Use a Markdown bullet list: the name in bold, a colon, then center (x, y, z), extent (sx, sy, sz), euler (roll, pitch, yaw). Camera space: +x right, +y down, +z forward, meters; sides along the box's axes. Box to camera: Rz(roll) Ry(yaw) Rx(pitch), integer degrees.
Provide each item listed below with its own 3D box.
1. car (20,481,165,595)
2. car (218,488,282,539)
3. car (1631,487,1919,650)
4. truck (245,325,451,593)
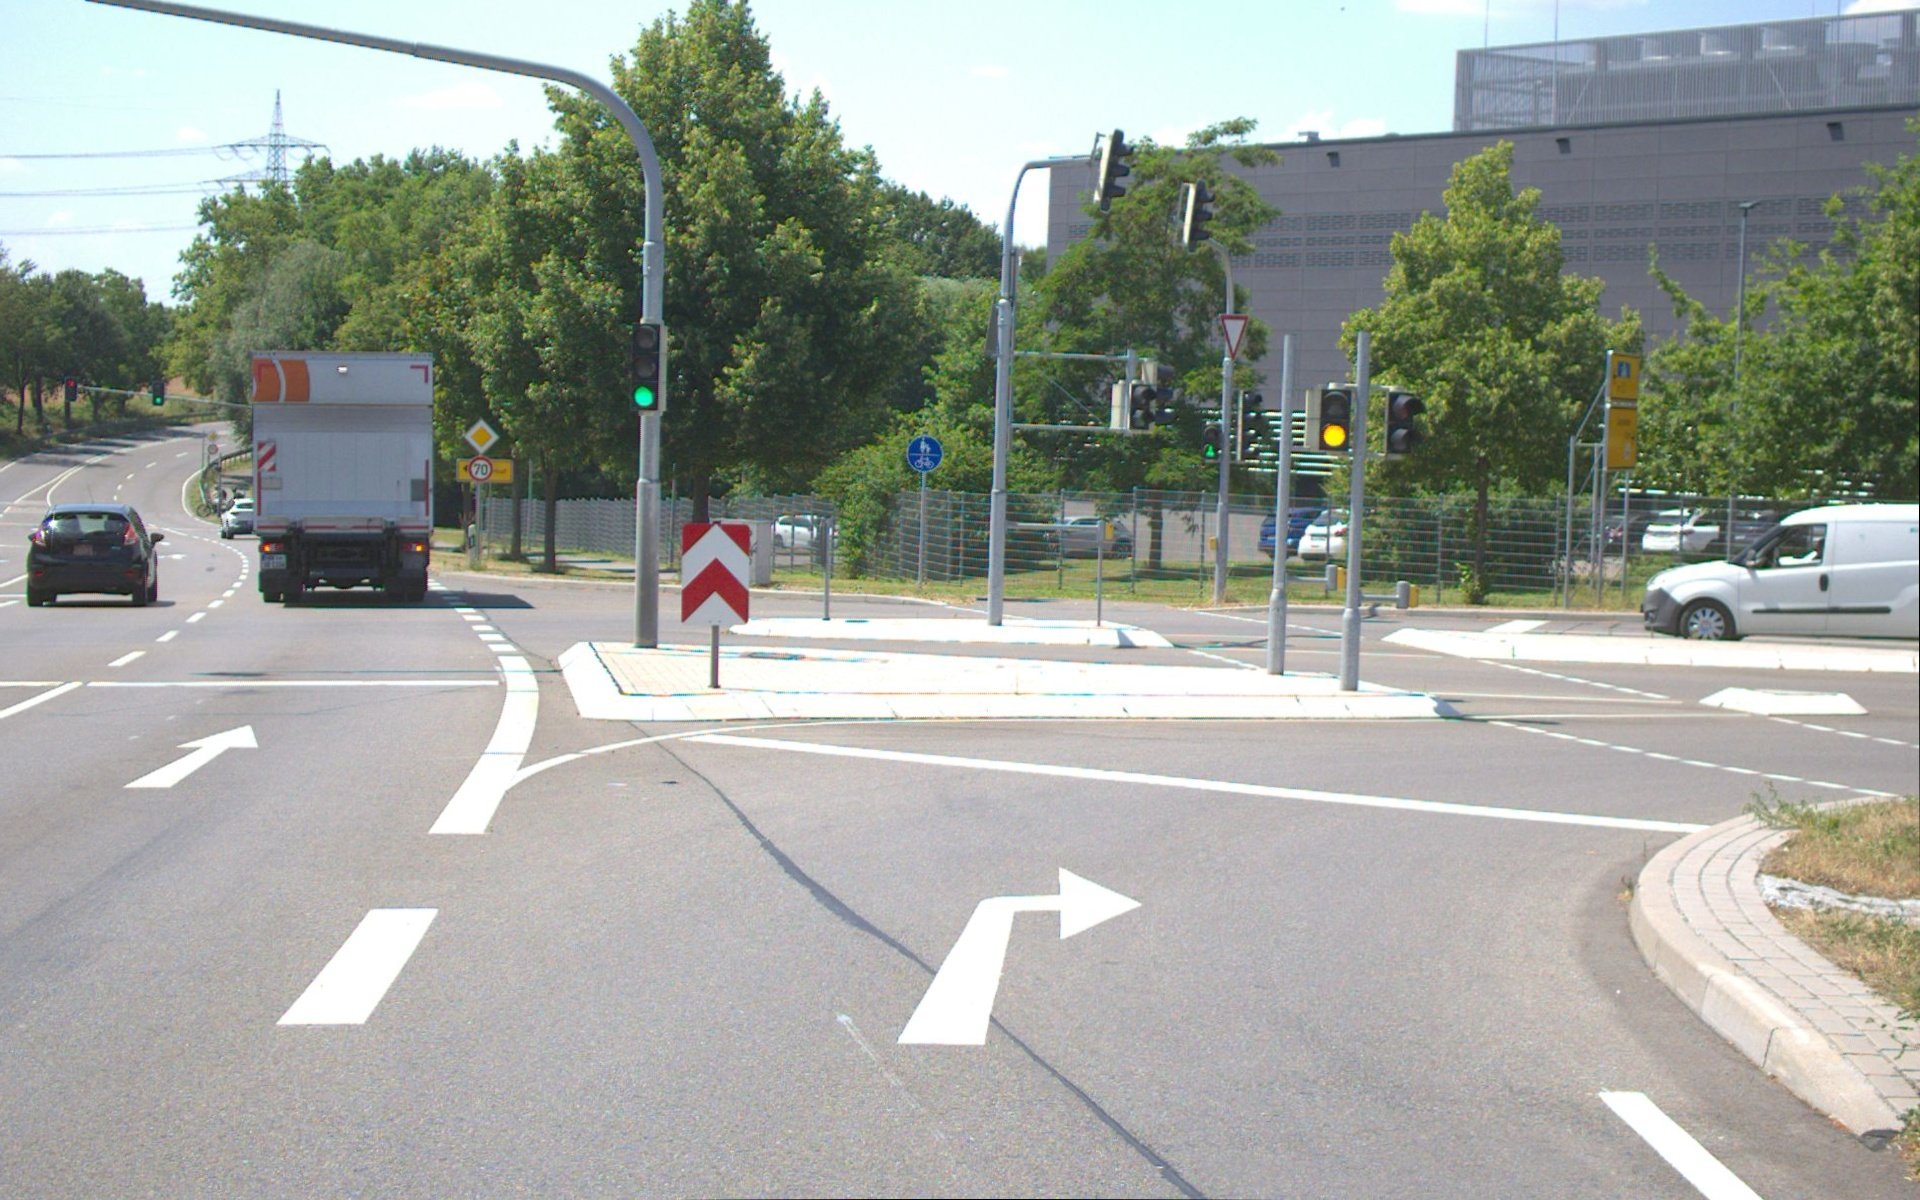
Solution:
- **car**: center (-12.700, -0.940, 50.506), extent (1.652, 1.488, 4.209), euler (1, 3, -9)
- **car**: center (-26.429, -3.241, 127.904), extent (1.943, 1.658, 4.002), euler (3, 2, -16)
- **car**: center (10.950, -0.402, 42.815), extent (4.750, 1.925, 2.151), euler (2, 2, 21)
- **truck**: center (-9.490, -2.178, 52.889), extent (2.803, 3.698, 9.111), euler (1, 2, -11)
